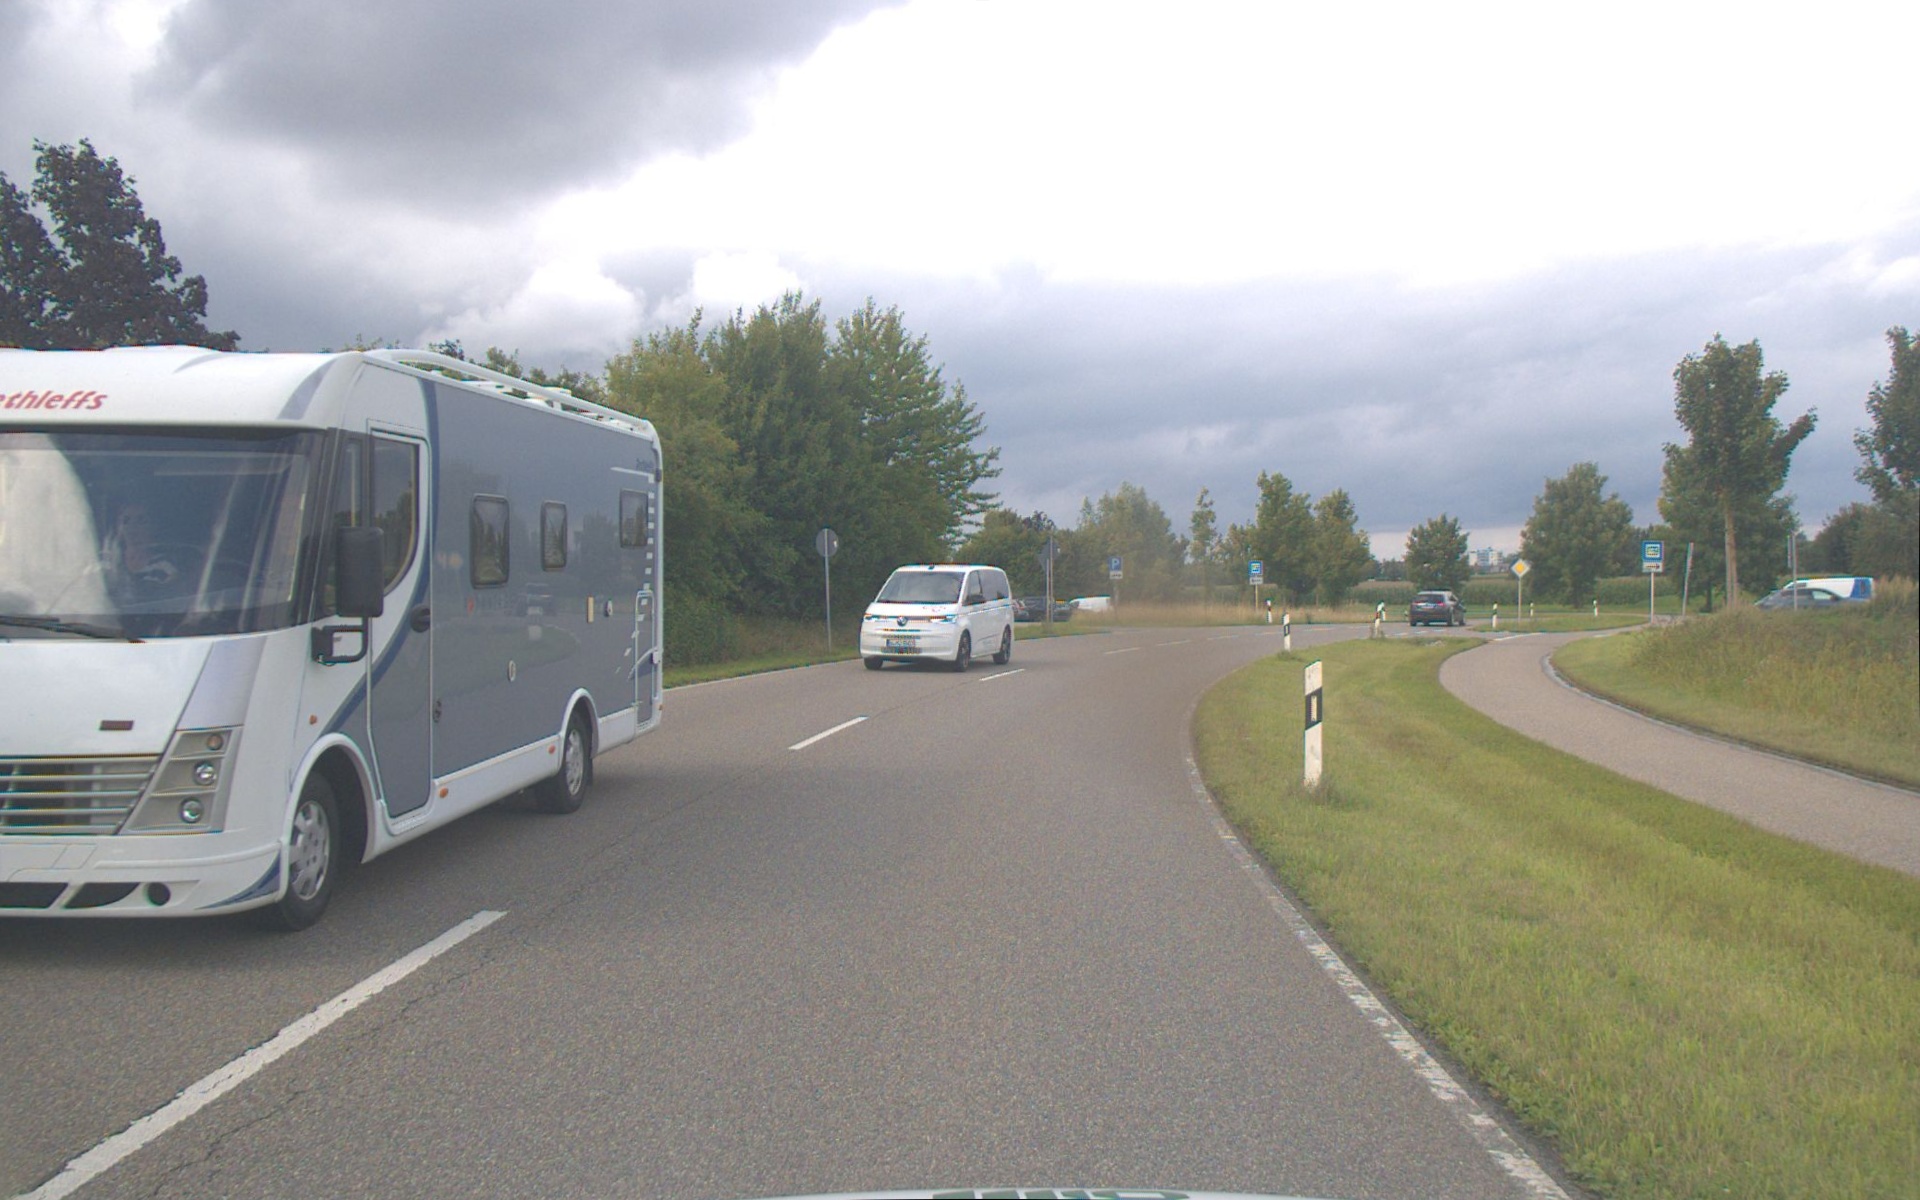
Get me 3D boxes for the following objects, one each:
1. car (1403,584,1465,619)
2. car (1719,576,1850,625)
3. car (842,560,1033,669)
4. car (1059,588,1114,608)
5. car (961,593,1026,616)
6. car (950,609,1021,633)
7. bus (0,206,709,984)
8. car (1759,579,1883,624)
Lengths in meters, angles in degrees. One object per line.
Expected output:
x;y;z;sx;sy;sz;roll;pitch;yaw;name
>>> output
20.444;0.058;71.220;1.806;1.442;3.994;0;0;28;car
34.641;0.033;69.518;4.852;2.008;1.952;0;0;29;car
-0.308;0.248;31.516;2.069;1.901;5.189;0;0;18;car
9.310;-0.165;121.639;3.902;1.404;1.477;0;0;12;car
2.067;0.269;102.363;3.902;1.404;1.477;0;0;6;car
1.513;1.243;98.862;3.903;1.404;1.825;0;0;18;car
-3.623;-0.024;10.136;2.423;2.759;8.434;0;0;3;bus
33.593;0.061;64.606;4.190;1.593;1.835;-2;-1;29;car
